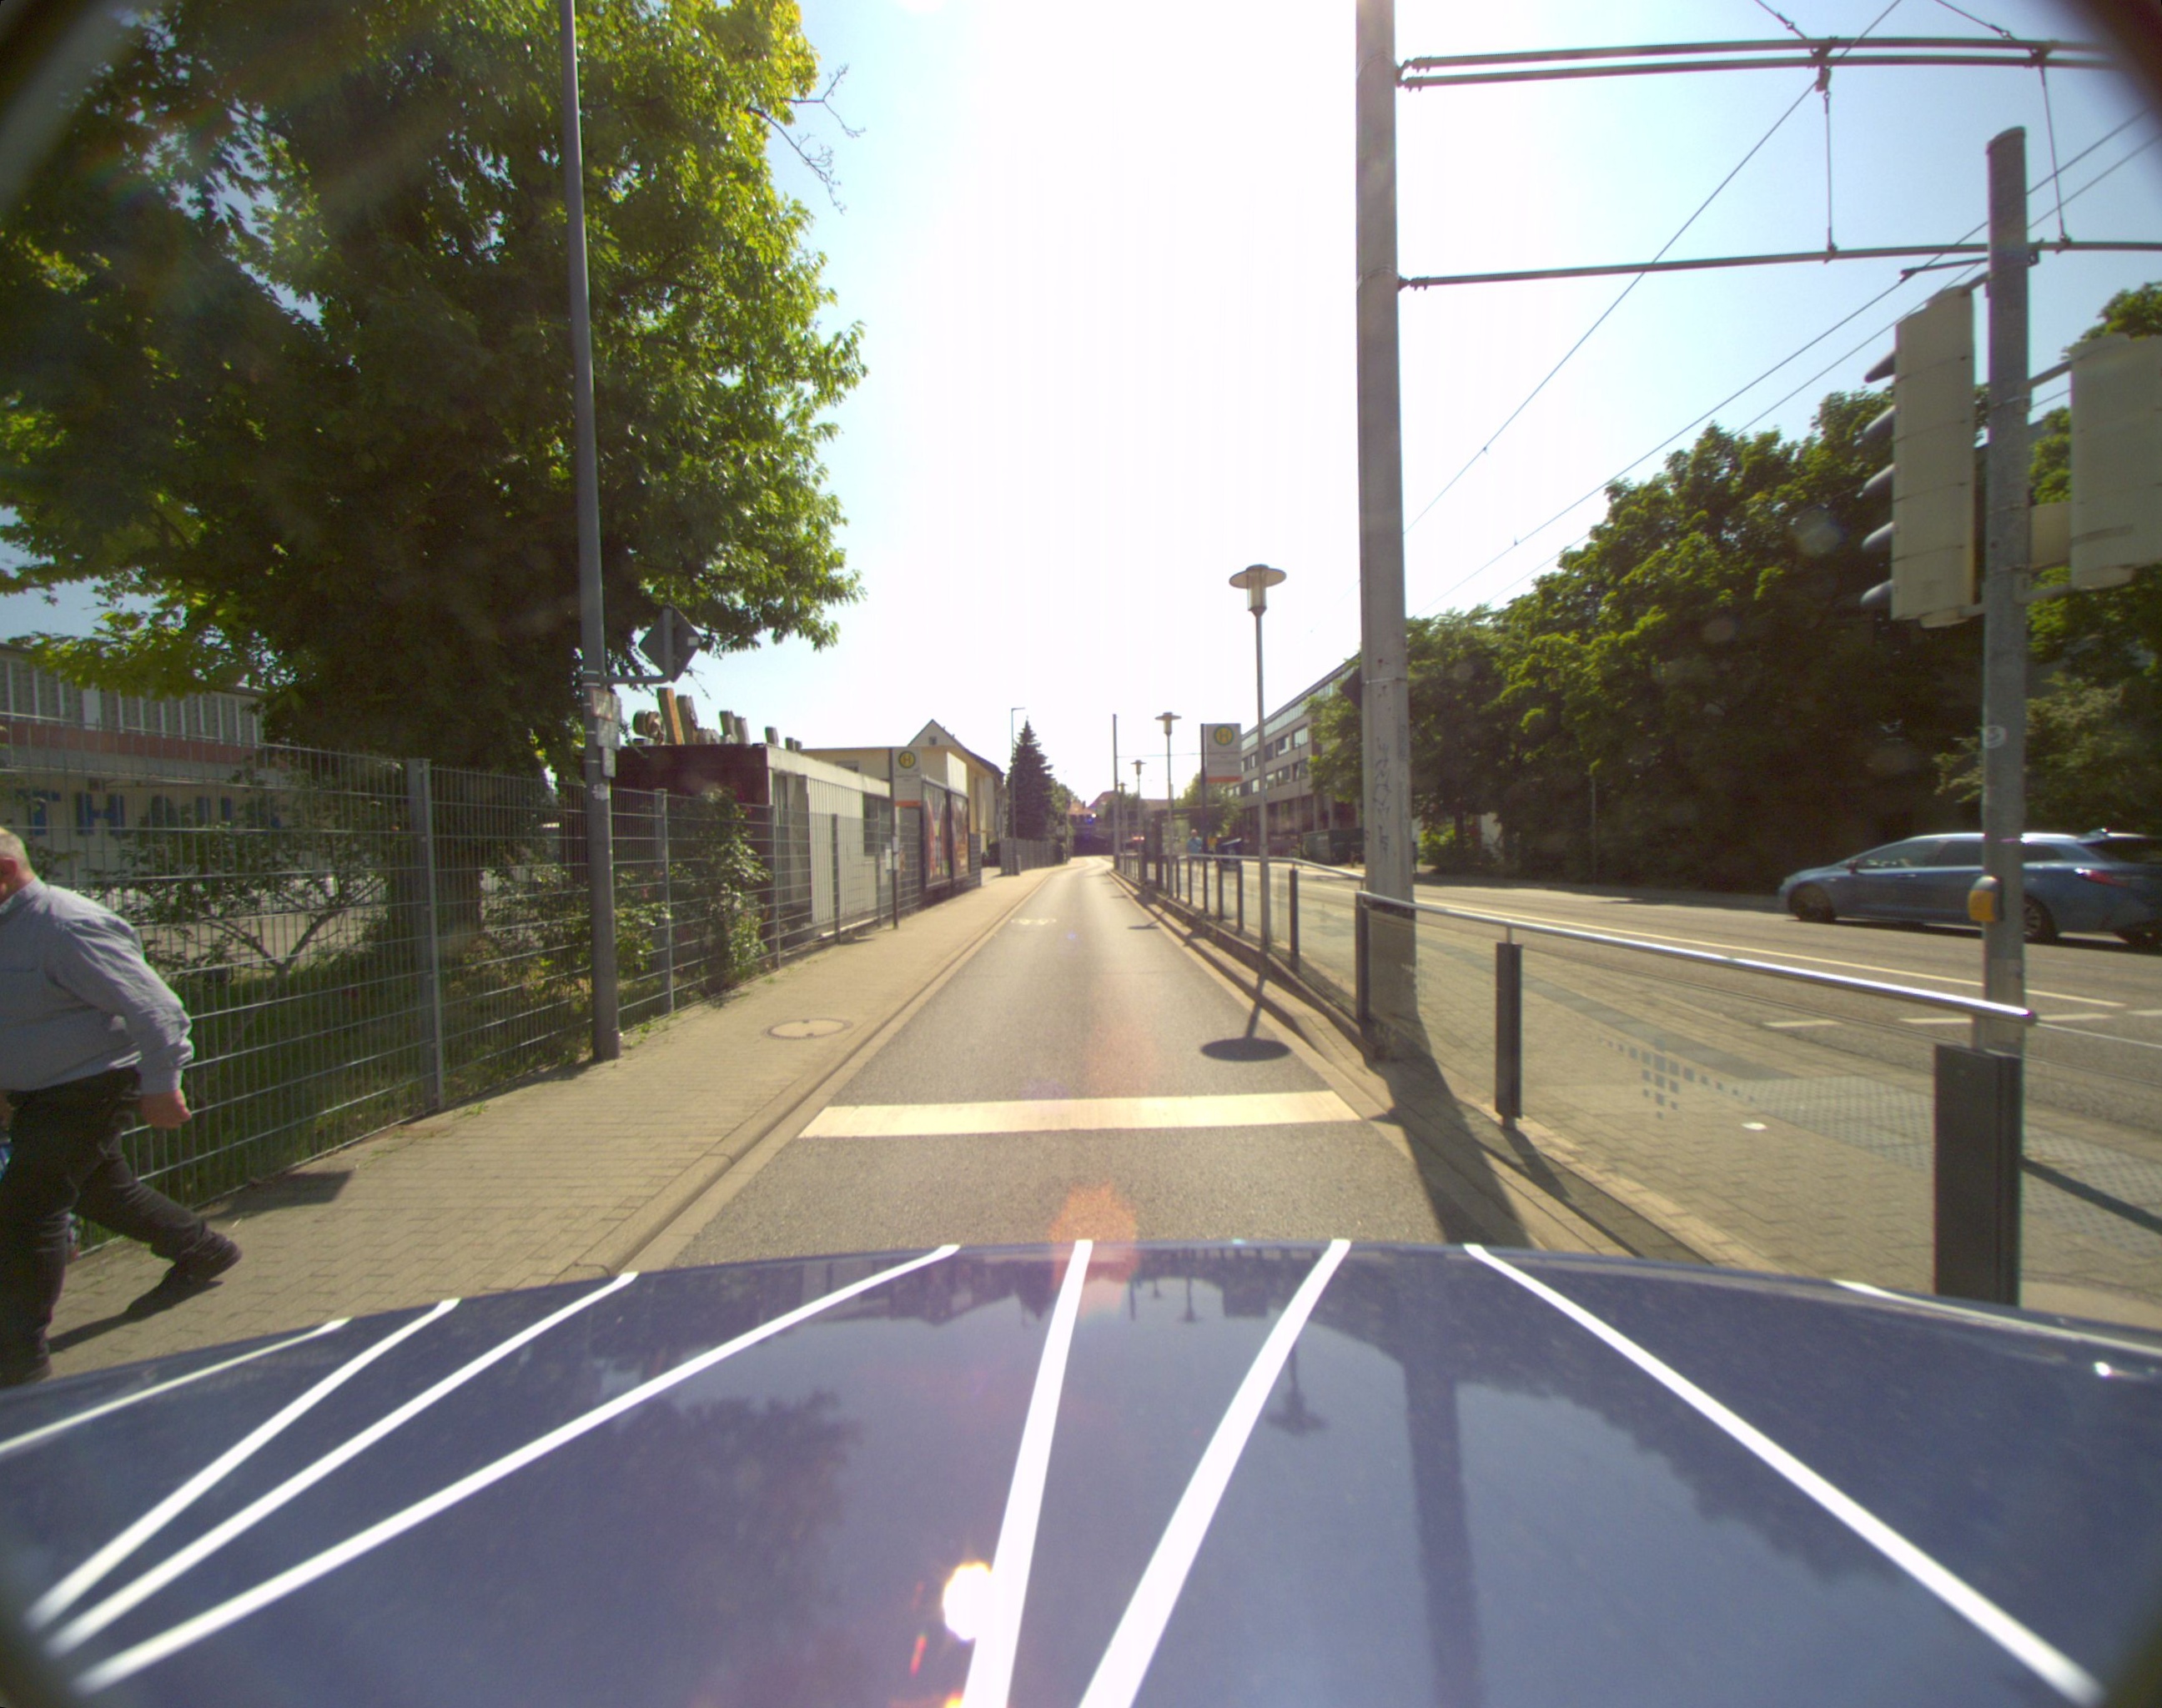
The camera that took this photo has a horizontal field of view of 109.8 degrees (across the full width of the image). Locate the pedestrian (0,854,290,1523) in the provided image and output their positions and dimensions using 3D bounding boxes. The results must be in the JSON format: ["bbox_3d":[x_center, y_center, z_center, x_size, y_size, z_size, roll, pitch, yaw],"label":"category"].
[{"bbox_3d":[-3.162,0.853,2.178,0.815,1.689,0.887,-1,1,-2],"label":"pedestrian"}]

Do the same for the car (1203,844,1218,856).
[{"bbox_3d":[18.873,-0.570,110.999,1.997,1.613,4.002,0,1,7],"label":"car"}]

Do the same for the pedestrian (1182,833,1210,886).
[{"bbox_3d":[3.887,0.184,25.741,0.726,1.714,0.944,-2,0,0],"label":"pedestrian"}]

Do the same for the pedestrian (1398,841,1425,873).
[{"bbox_3d":[15.767,0.146,36.244,0.873,1.518,0.846,-1,1,-1],"label":"pedestrian"}]

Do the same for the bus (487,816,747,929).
[{"bbox_3d":[-15.456,0.318,26.764,2.572,3.154,10.264,-1,2,1],"label":"bus"}]

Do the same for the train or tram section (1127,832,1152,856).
[{"bbox_3d":[8.988,-1.461,117.938,2.680,3.464,12.326,-1,1,0],"label":"train or tram section"}]

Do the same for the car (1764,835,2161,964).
[{"bbox_3d":[12.709,0.498,10.774,1.911,1.434,4.595,0,0,0],"label":"car"}]

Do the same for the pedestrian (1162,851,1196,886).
[{"bbox_3d":[3.180,0.473,24.682,0.945,1.093,0.726,-2,0,-1],"label":"pedestrian"}]

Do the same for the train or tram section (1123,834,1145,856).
[{"bbox_3d":[9.008,-1.542,130.755,2.680,3.464,13.387,-1,1,0],"label":"train or tram section"}]
